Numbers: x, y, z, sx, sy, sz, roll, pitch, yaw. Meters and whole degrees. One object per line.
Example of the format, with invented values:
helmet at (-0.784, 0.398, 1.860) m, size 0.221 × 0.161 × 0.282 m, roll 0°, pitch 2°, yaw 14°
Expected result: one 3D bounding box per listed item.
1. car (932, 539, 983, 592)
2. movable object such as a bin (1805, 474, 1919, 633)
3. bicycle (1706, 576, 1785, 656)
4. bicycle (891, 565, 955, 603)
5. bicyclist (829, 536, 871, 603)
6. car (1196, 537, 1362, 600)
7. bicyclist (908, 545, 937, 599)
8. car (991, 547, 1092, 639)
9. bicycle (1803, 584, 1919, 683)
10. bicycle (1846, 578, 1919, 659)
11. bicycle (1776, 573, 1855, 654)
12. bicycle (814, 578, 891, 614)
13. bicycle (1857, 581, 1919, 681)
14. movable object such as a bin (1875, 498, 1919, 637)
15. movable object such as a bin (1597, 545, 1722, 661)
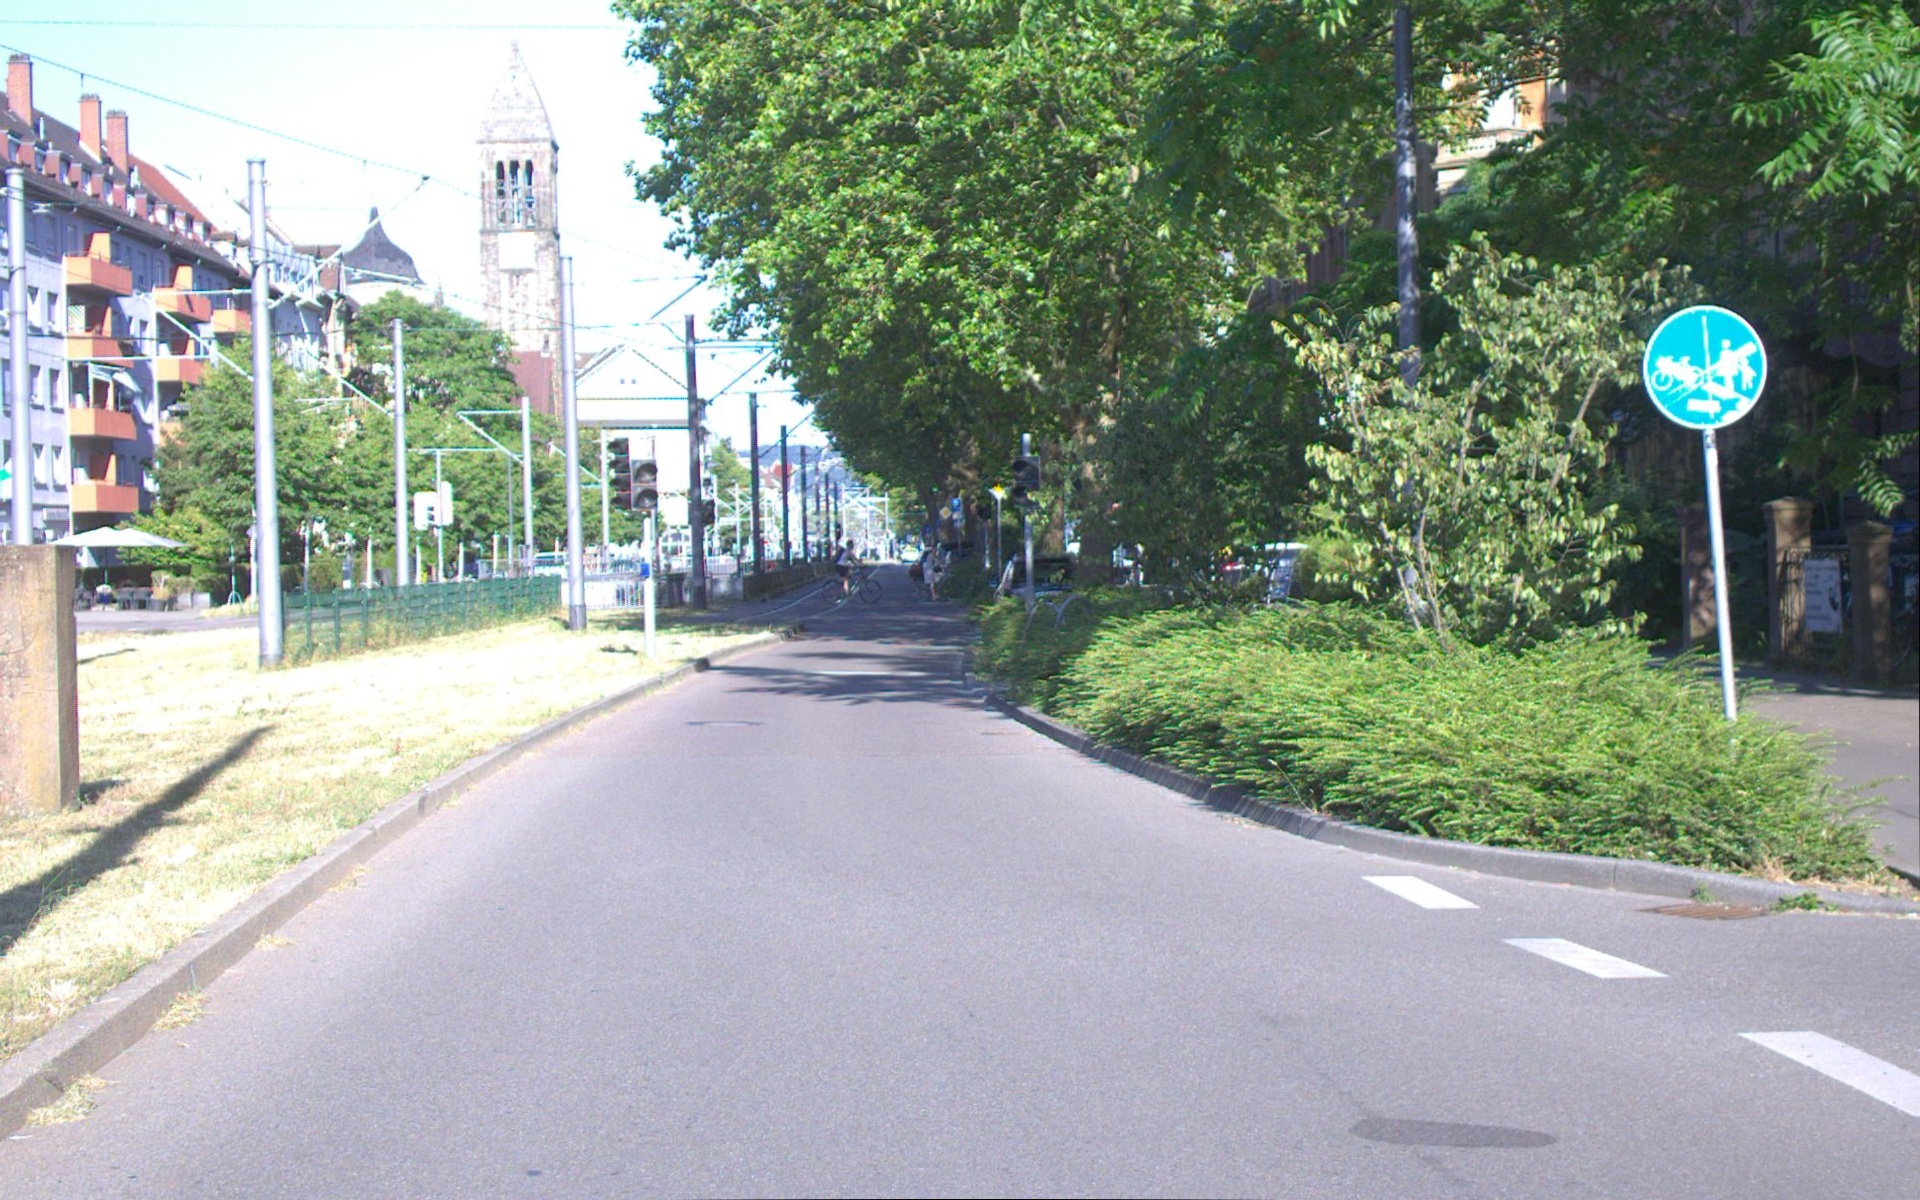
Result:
car at (-0.104, -1.382, 138.924) m, size 1.993 × 2.100 × 4.000 m, roll 1°, pitch 0°, yaw 0°
movable object such as a bin at (12.373, -0.643, 45.230) m, size 1.545 × 1.989 × 3.231 m, roll -2°, pitch 1°, yaw -2°
bicycle at (8.863, 0.179, 38.791) m, size 0.768 × 0.851 × 0.375 m, roll -3°, pitch 3°, yaw -4°
bicycle at (-1.108, -0.483, 103.068) m, size 1.814 × 1.044 × 0.573 m, roll -3°, pitch 4°, yaw -9°
bicyclist at (-3.253, -0.904, 101.449) m, size 1.141 × 1.884 × 0.682 m, roll -2°, pitch 3°, yaw -1°
car at (7.894, -0.790, 85.259) m, size 3.987 × 1.415 × 2.000 m, roll -2°, pitch 1°, yaw 5°
bicyclist at (-1.123, -0.830, 103.054) m, size 0.749 × 1.552 × 0.573 m, roll -3°, pitch 3°, yaw -9°
car at (1.439, -0.147, 61.893) m, size 1.643 × 1.506 × 4.183 m, roll -2°, pitch 1°, yaw 0°
bicycle at (9.411, 0.325, 34.688) m, size 1.652 × 0.921 × 0.539 m, roll -2°, pitch 3°, yaw 0°
bicycle at (10.456, 0.205, 38.840) m, size 0.768 × 0.851 × 0.375 m, roll -3°, pitch 3°, yaw -4°
bicycle at (9.665, 0.149, 38.839) m, size 0.768 × 0.851 × 0.375 m, roll -3°, pitch 3°, yaw -4°
bicycle at (-3.177, -0.131, 101.477) m, size 2.241 × 0.972 × 0.682 m, roll -1°, pitch 3°, yaw -1°
bicycle at (9.664, 0.278, 33.561) m, size 1.652 × 0.921 × 0.539 m, roll -2°, pitch 3°, yaw 0°
movable object such as a bin at (11.946, -0.416, 42.983) m, size 0.754 × 1.687 × 0.743 m, roll -3°, pitch 3°, yaw -3°
movable object such as a bin at (8.800, 0.027, 43.306) m, size 1.232 × 1.377 × 1.257 m, roll -2°, pitch 1°, yaw -2°
